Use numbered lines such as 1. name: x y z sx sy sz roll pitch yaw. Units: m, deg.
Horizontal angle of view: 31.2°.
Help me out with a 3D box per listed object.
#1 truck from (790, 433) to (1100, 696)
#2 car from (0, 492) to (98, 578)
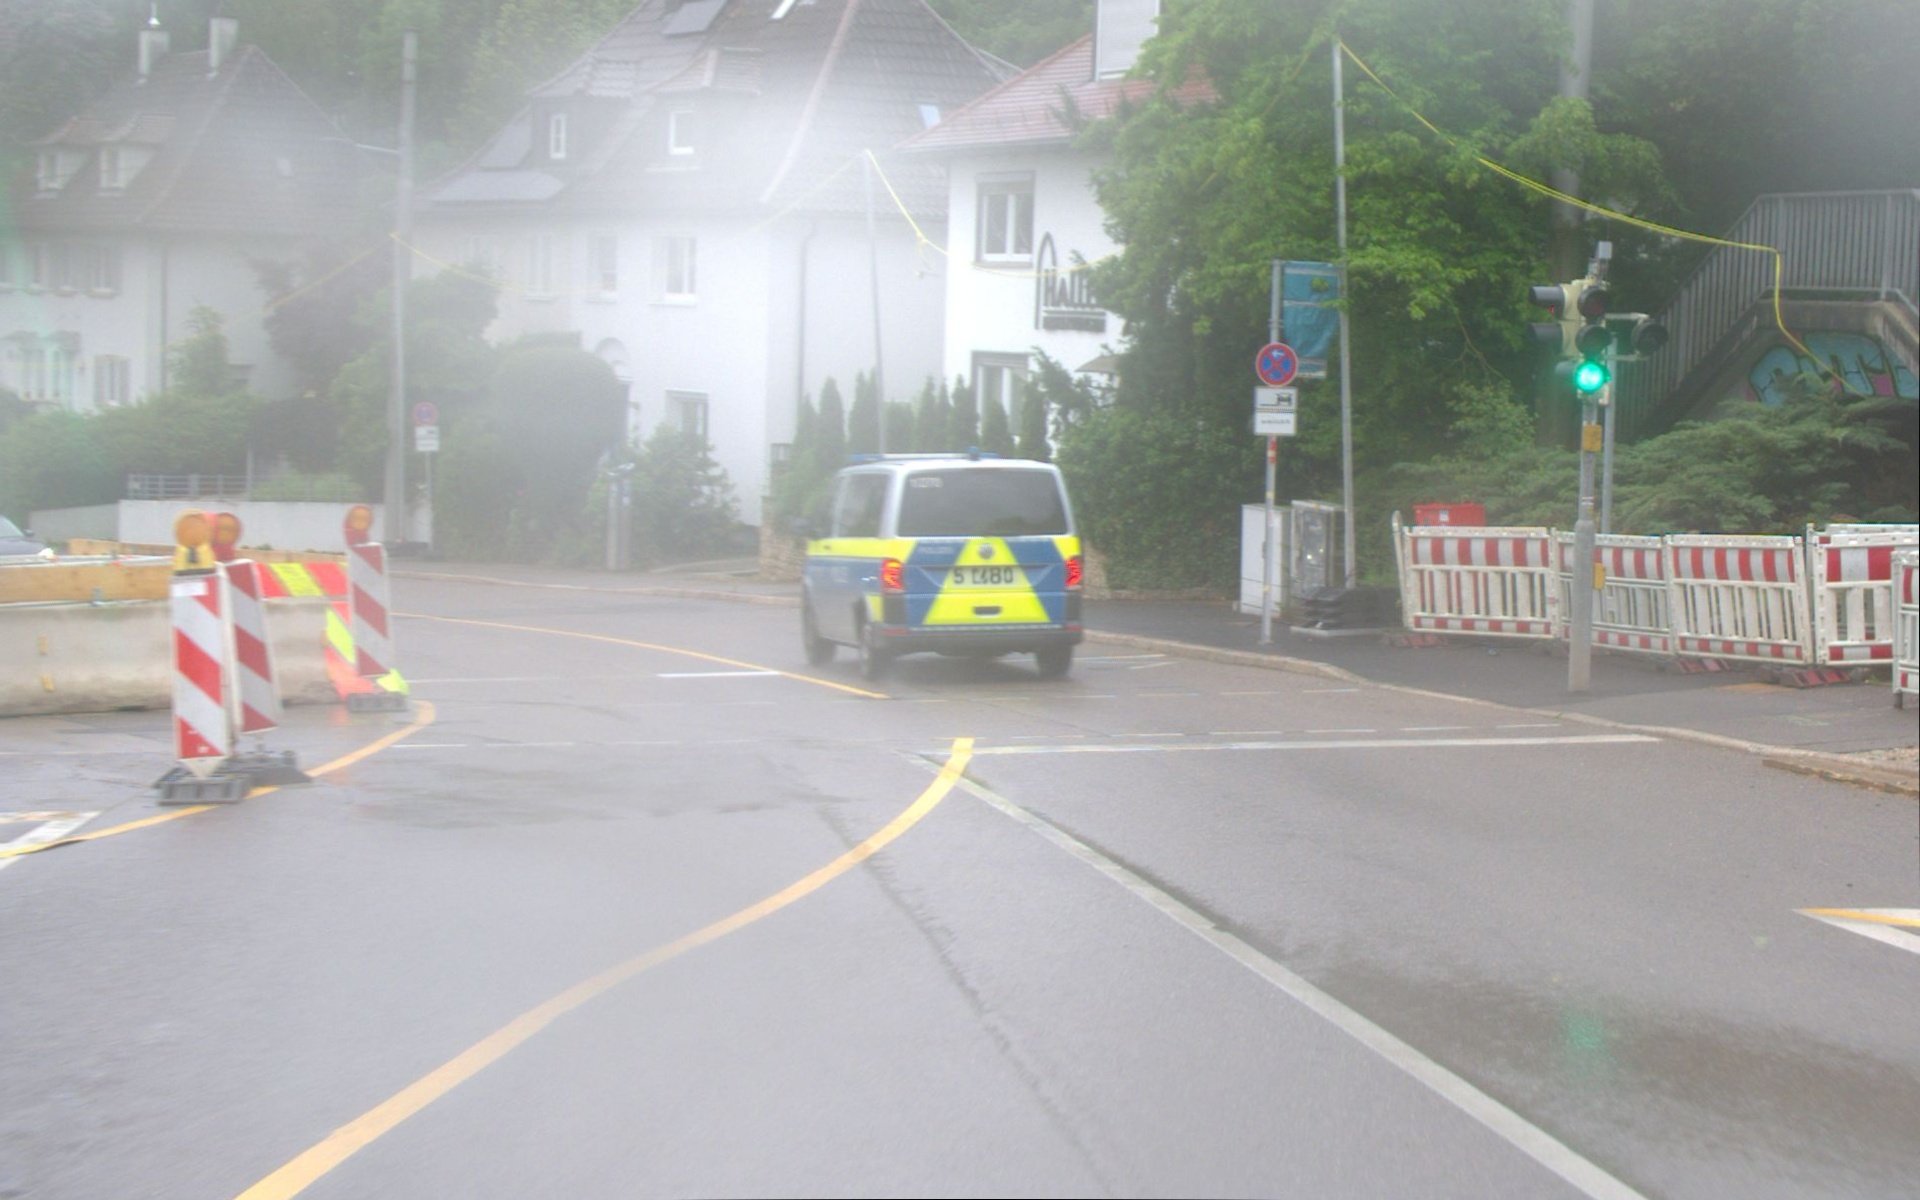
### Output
1. truck: -0.238 -0.421 31.583 1.993 2.006 4.737 -1 6 -11
2. car: -16.679 -1.163 59.827 1.784 1.398 4.365 -1 3 -35
